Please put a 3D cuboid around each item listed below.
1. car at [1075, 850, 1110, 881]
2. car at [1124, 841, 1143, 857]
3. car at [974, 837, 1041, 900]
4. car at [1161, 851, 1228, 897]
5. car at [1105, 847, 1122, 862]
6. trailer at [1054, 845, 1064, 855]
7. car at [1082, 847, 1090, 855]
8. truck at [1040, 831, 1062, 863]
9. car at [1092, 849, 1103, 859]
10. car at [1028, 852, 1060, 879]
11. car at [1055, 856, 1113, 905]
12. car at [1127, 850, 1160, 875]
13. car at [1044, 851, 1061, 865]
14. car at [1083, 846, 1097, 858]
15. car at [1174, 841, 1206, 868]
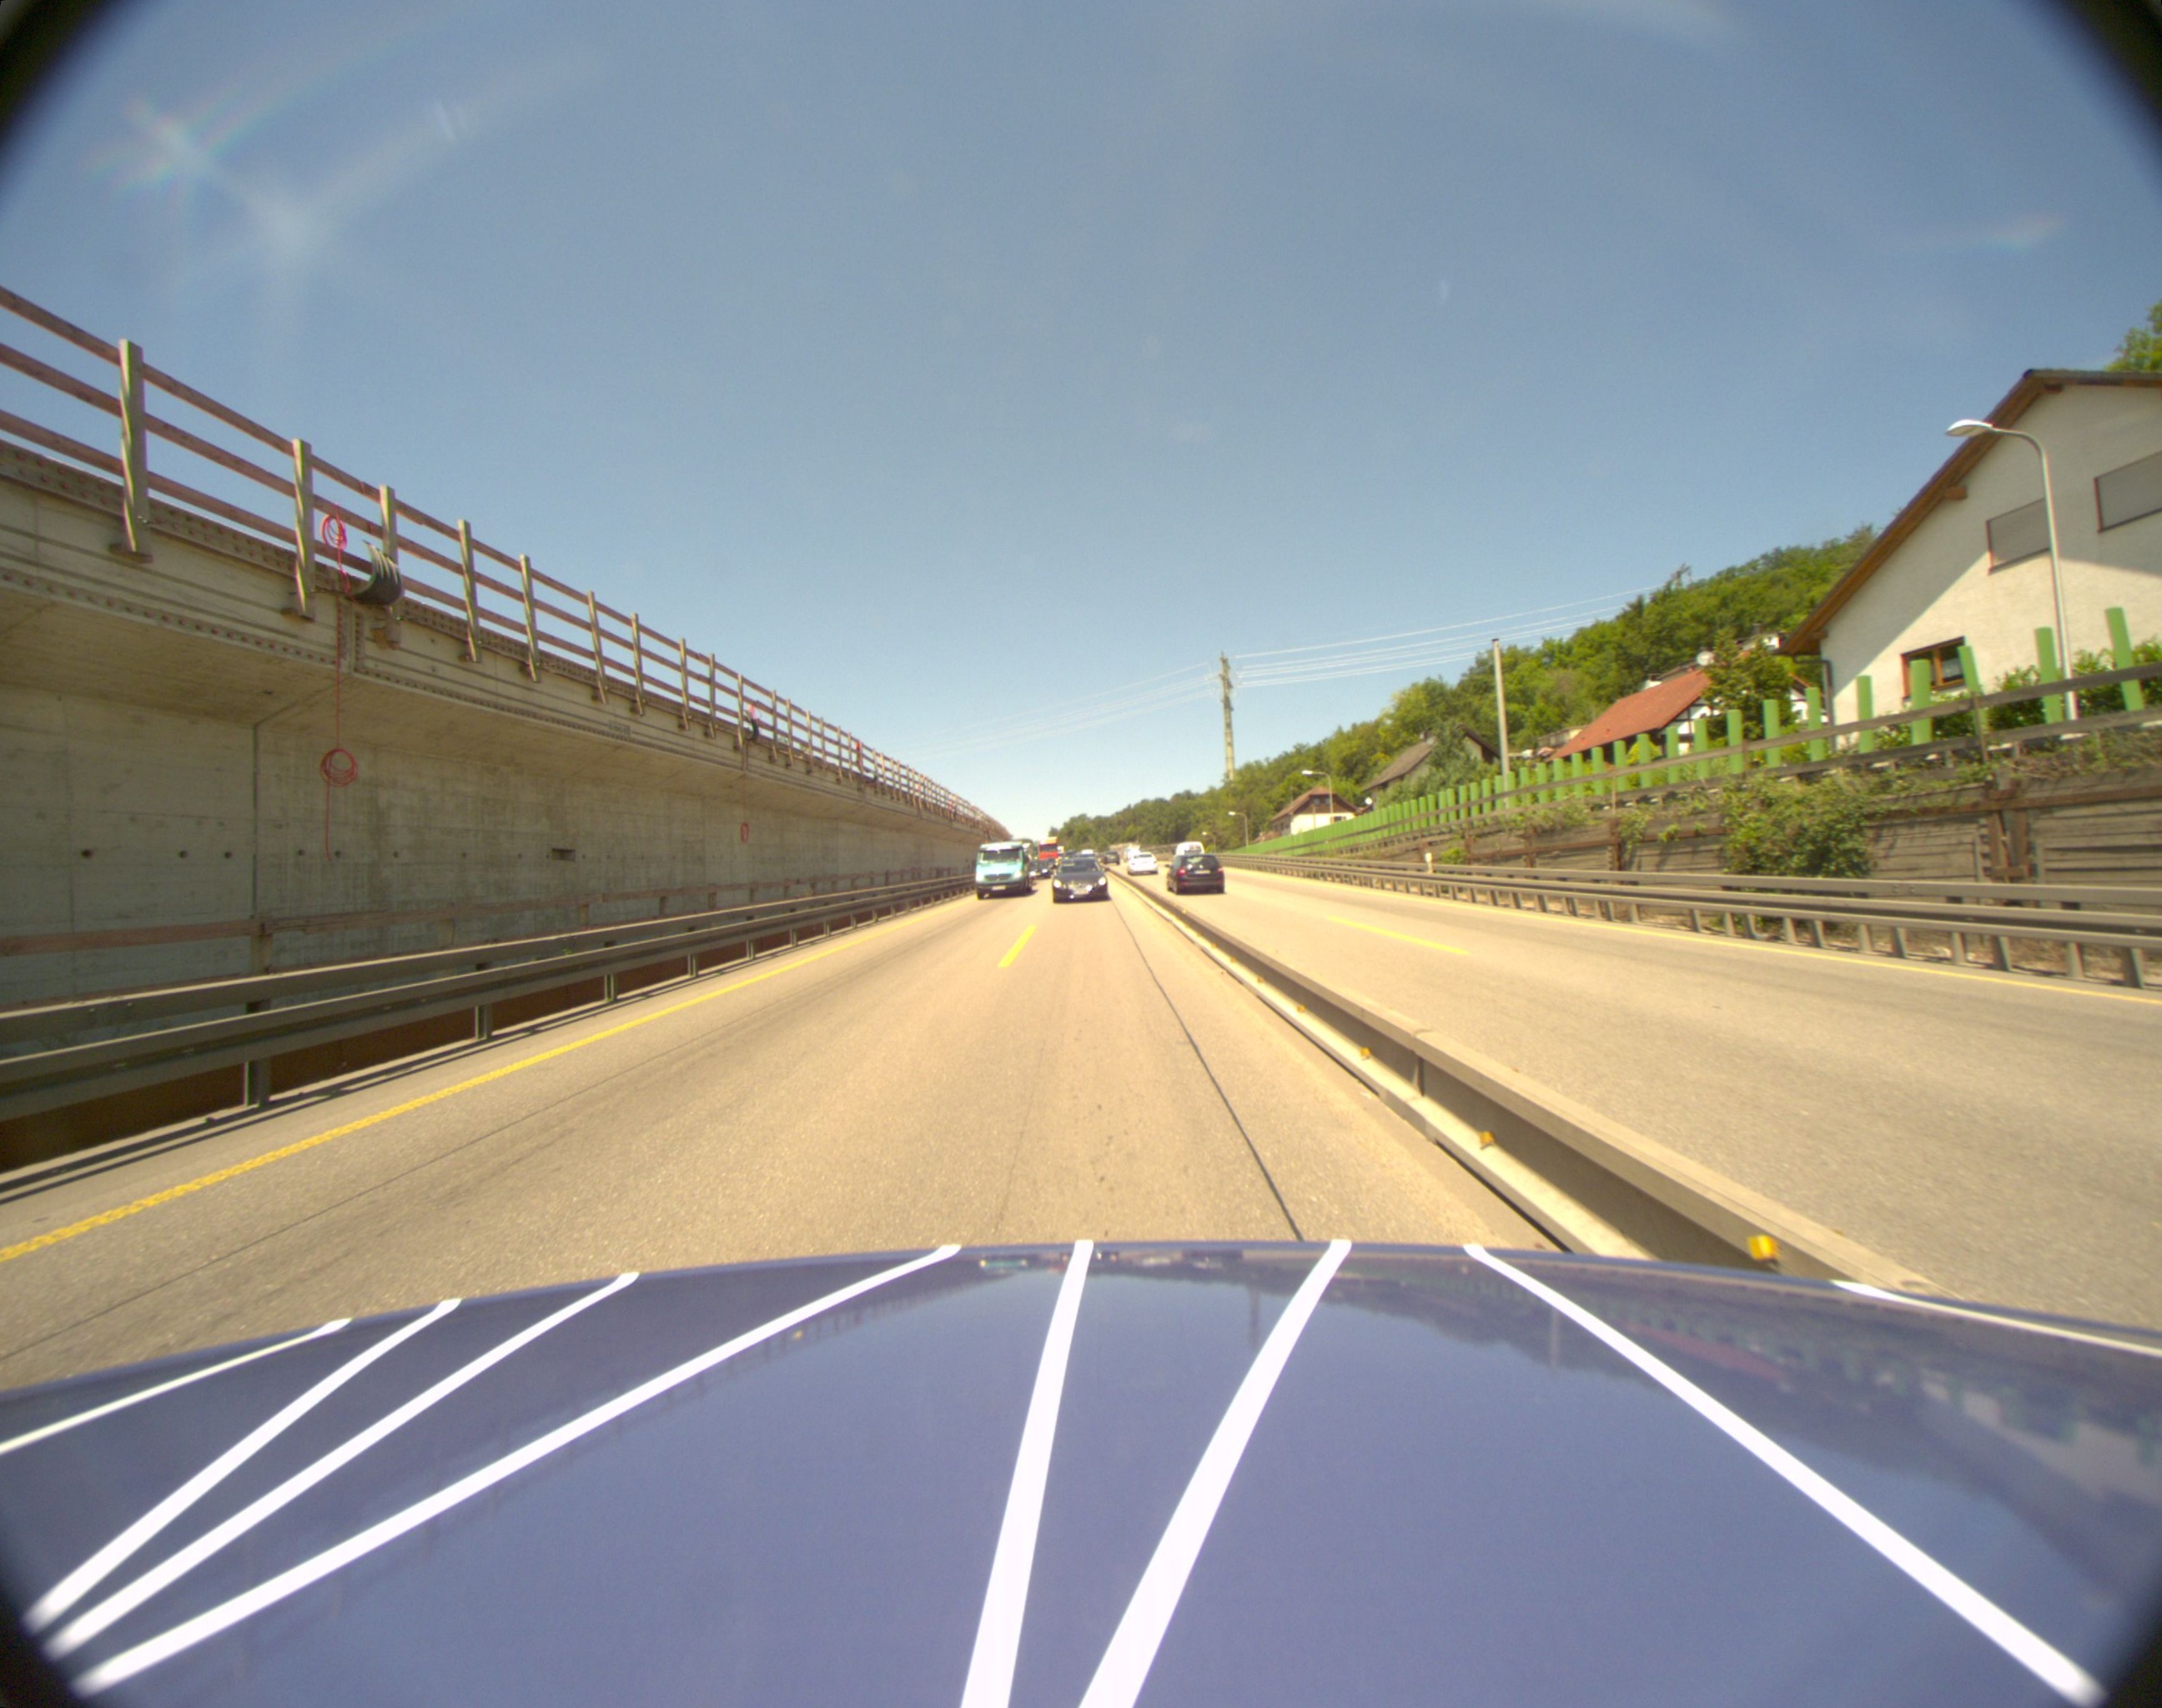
[{"bbox_3d":[0.662,0.650,45.755,1.860,1.650,3.999,-5,1,-1],"label":"car"},{"bbox_3d":[6.890,-0.619,100.540,1.830,1.914,5.241,-3,0,-3],"label":"car"},{"bbox_3d":[-3.092,0.549,33.506,1.968,2.367,7.210,-4,0,1],"label":"car"},{"bbox_3d":[4.072,0.656,27.906,1.610,1.438,4.668,-2,1,-1],"label":"car"},{"bbox_3d":[3.678,0.034,86.737,1.779,1.624,4.100,-3,0,0],"label":"car"},{"bbox_3d":[-6.368,-1.197,217.096,2.606,2.573,6.239,-4,1,-1],"label":"trailer"},{"bbox_3d":[1.233,-0.742,193.598,1.998,2.002,4.000,-2,0,1],"label":"car"},{"bbox_3d":[-4.122,-0.974,106.045,2.651,3.978,11.193,-5,1,-2],"label":"truck"},{"bbox_3d":[3.345,-0.036,154.924,1.999,1.816,4.508,-2,0,-1],"label":"car"},{"bbox_3d":[-2.631,0.792,55.216,1.859,1.650,4.000,-5,1,2],"label":"car"},{"bbox_3d":[0.027,0.844,26.222,1.793,1.440,4.296,-2,0,-2],"label":"car"},{"bbox_3d":[3.987,0.494,49.135,1.737,1.429,4.258,-3,1,0],"label":"car"},{"bbox_3d":[-3.321,0.457,89.608,1.674,1.499,3.648,-5,1,1],"label":"car"},{"bbox_3d":[1.522,-0.429,131.681,2.163,1.895,5.325,-3,1,0],"label":"car"},{"bbox_3d":[7.664,0.001,53.673,1.600,1.823,4.752,-2,1,1],"label":"car"}]
